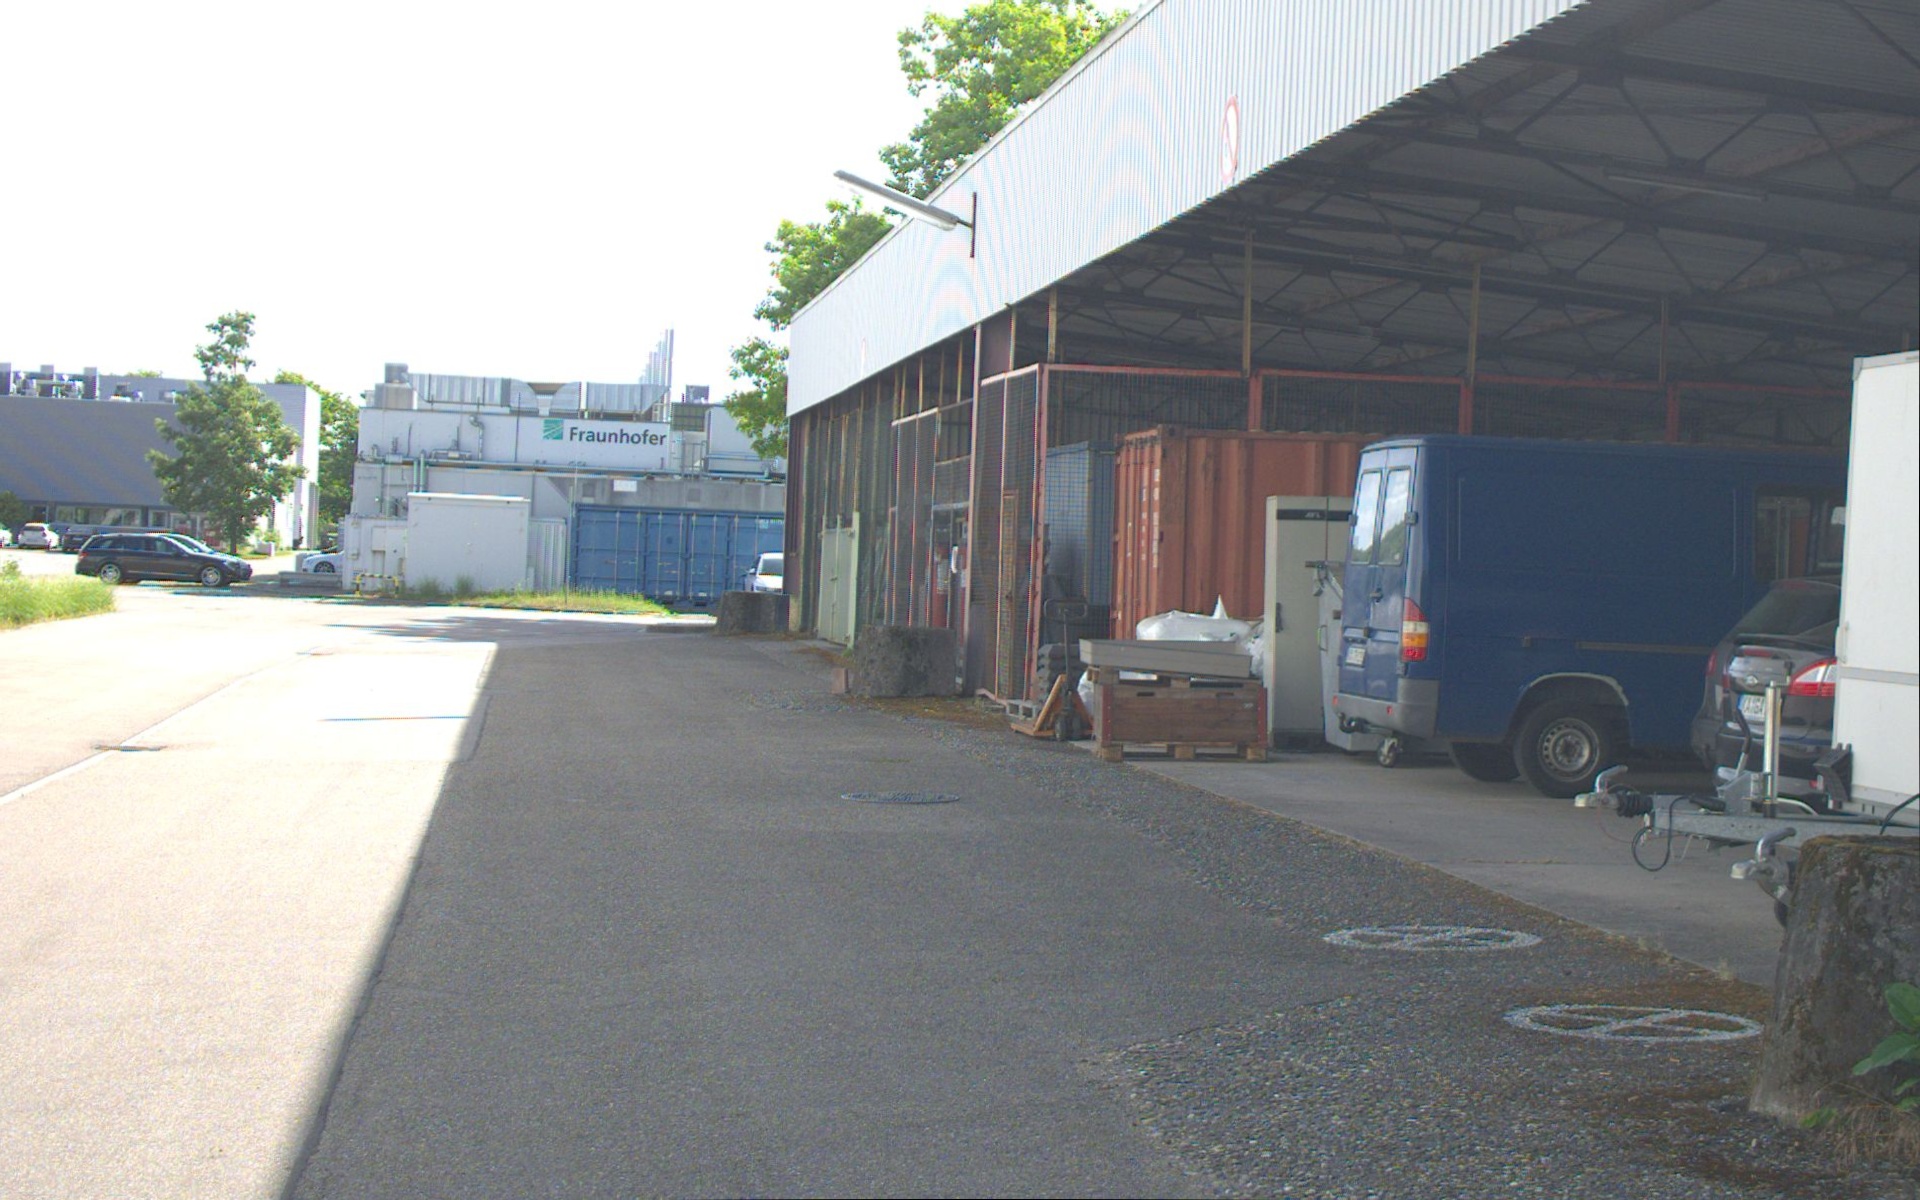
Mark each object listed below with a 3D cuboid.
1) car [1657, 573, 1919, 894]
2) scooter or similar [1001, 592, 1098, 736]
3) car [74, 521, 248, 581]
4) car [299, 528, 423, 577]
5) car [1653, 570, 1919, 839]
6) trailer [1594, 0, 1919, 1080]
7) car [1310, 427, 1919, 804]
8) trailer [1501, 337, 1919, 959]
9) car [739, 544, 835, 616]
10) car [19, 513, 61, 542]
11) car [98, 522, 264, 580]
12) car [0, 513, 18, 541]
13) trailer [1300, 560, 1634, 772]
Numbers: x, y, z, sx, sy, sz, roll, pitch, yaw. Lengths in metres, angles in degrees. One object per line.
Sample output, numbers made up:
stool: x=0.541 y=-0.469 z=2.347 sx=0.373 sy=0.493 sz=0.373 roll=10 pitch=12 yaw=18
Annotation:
car: x=5.809 y=0.619 z=16.713 sx=4.342 sy=1.428 sz=1.865 roll=1 pitch=1 yaw=-10
scooter or similar: x=0.724 y=0.513 z=28.220 sx=0.520 sy=1.131 sz=1.593 roll=2 pitch=0 yaw=-8
car: x=-22.541 y=-1.377 z=97.127 sx=4.528 sy=1.438 sz=1.988 roll=2 pitch=-1 yaw=-7
car: x=-21.794 y=-1.713 z=125.180 sx=4.278 sy=1.564 sz=1.988 roll=2 pitch=-1 yaw=-7
car: x=6.302 y=0.584 z=19.854 sx=4.106 sy=1.449 sz=1.851 roll=1 pitch=0 yaw=-7
trailer: x=7.601 y=-0.220 z=11.759 sx=10.291 sy=3.284 sz=2.676 roll=1 pitch=1 yaw=-6
car: x=5.160 y=0.122 z=22.933 sx=5.215 sy=2.289 sz=2.084 roll=2 pitch=0 yaw=-8
trailer: x=4.656 y=0.195 z=13.948 sx=4.541 sy=2.327 sz=1.689 roll=1 pitch=1 yaw=-6
car: x=-4.389 y=-0.528 z=86.675 sx=1.980 sy=1.588 sz=4.342 roll=3 pitch=2 yaw=-8
car: x=-51.179 y=-4.021 z=191.359 sx=1.877 sy=1.532 sz=4.037 roll=1 pitch=1 yaw=-10
car: x=-22.719 y=-1.424 z=100.389 sx=4.528 sy=1.438 sz=1.904 roll=2 pitch=-1 yaw=-7
car: x=-53.461 y=-4.049 z=190.854 sx=1.877 sy=1.532 sz=4.037 roll=1 pitch=1 yaw=-10
trailer: x=3.710 y=0.469 z=25.384 sx=2.094 sy=1.457 sz=1.642 roll=2 pitch=0 yaw=-4
